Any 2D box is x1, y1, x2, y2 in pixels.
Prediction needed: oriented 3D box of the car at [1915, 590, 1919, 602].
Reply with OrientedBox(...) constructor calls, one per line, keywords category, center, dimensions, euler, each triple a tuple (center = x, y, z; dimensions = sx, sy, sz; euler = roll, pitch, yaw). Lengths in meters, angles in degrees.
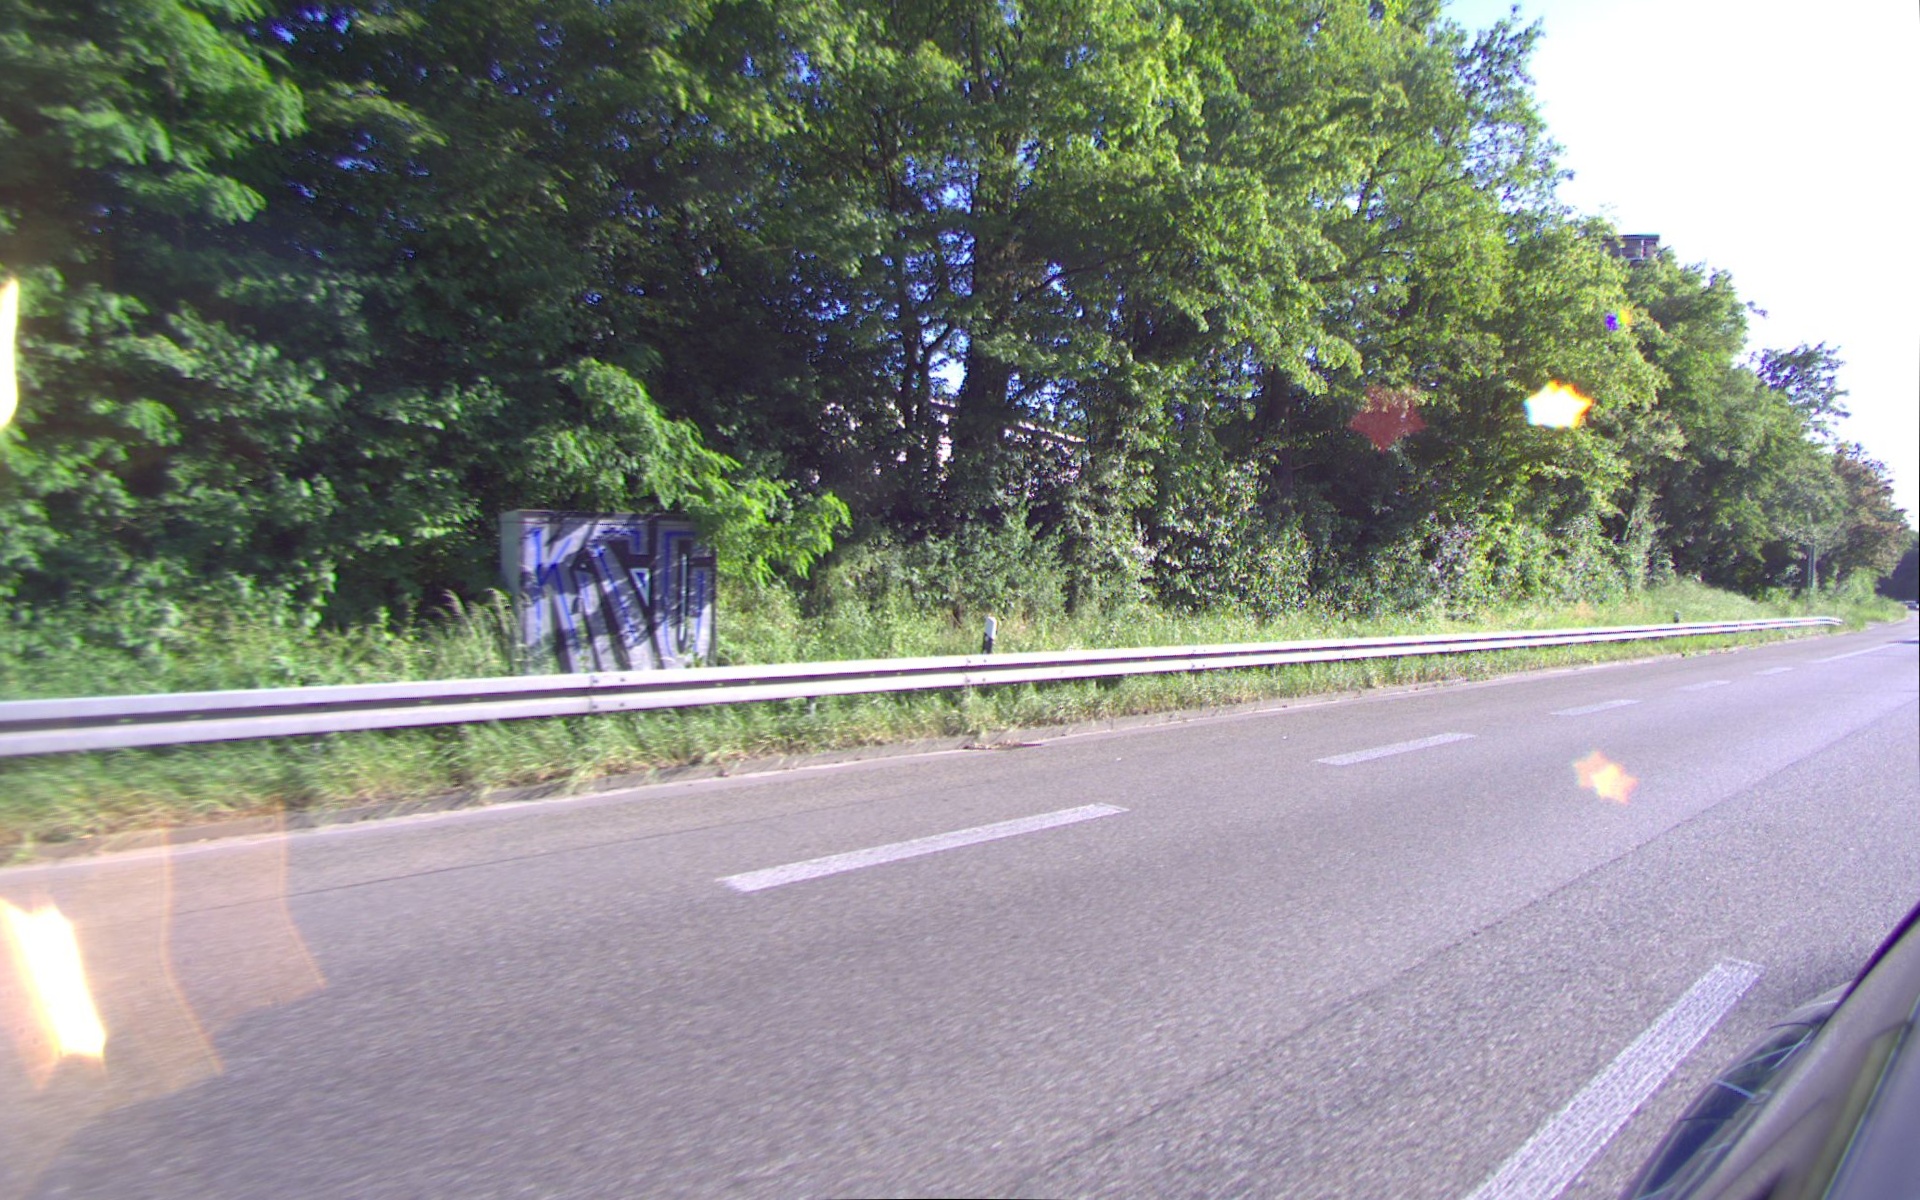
OrientedBox(category="car", center=(160.281, -0.595, 167.973), dimensions=(1.989, 2.038, 3.946), euler=(2, 2, 37))
